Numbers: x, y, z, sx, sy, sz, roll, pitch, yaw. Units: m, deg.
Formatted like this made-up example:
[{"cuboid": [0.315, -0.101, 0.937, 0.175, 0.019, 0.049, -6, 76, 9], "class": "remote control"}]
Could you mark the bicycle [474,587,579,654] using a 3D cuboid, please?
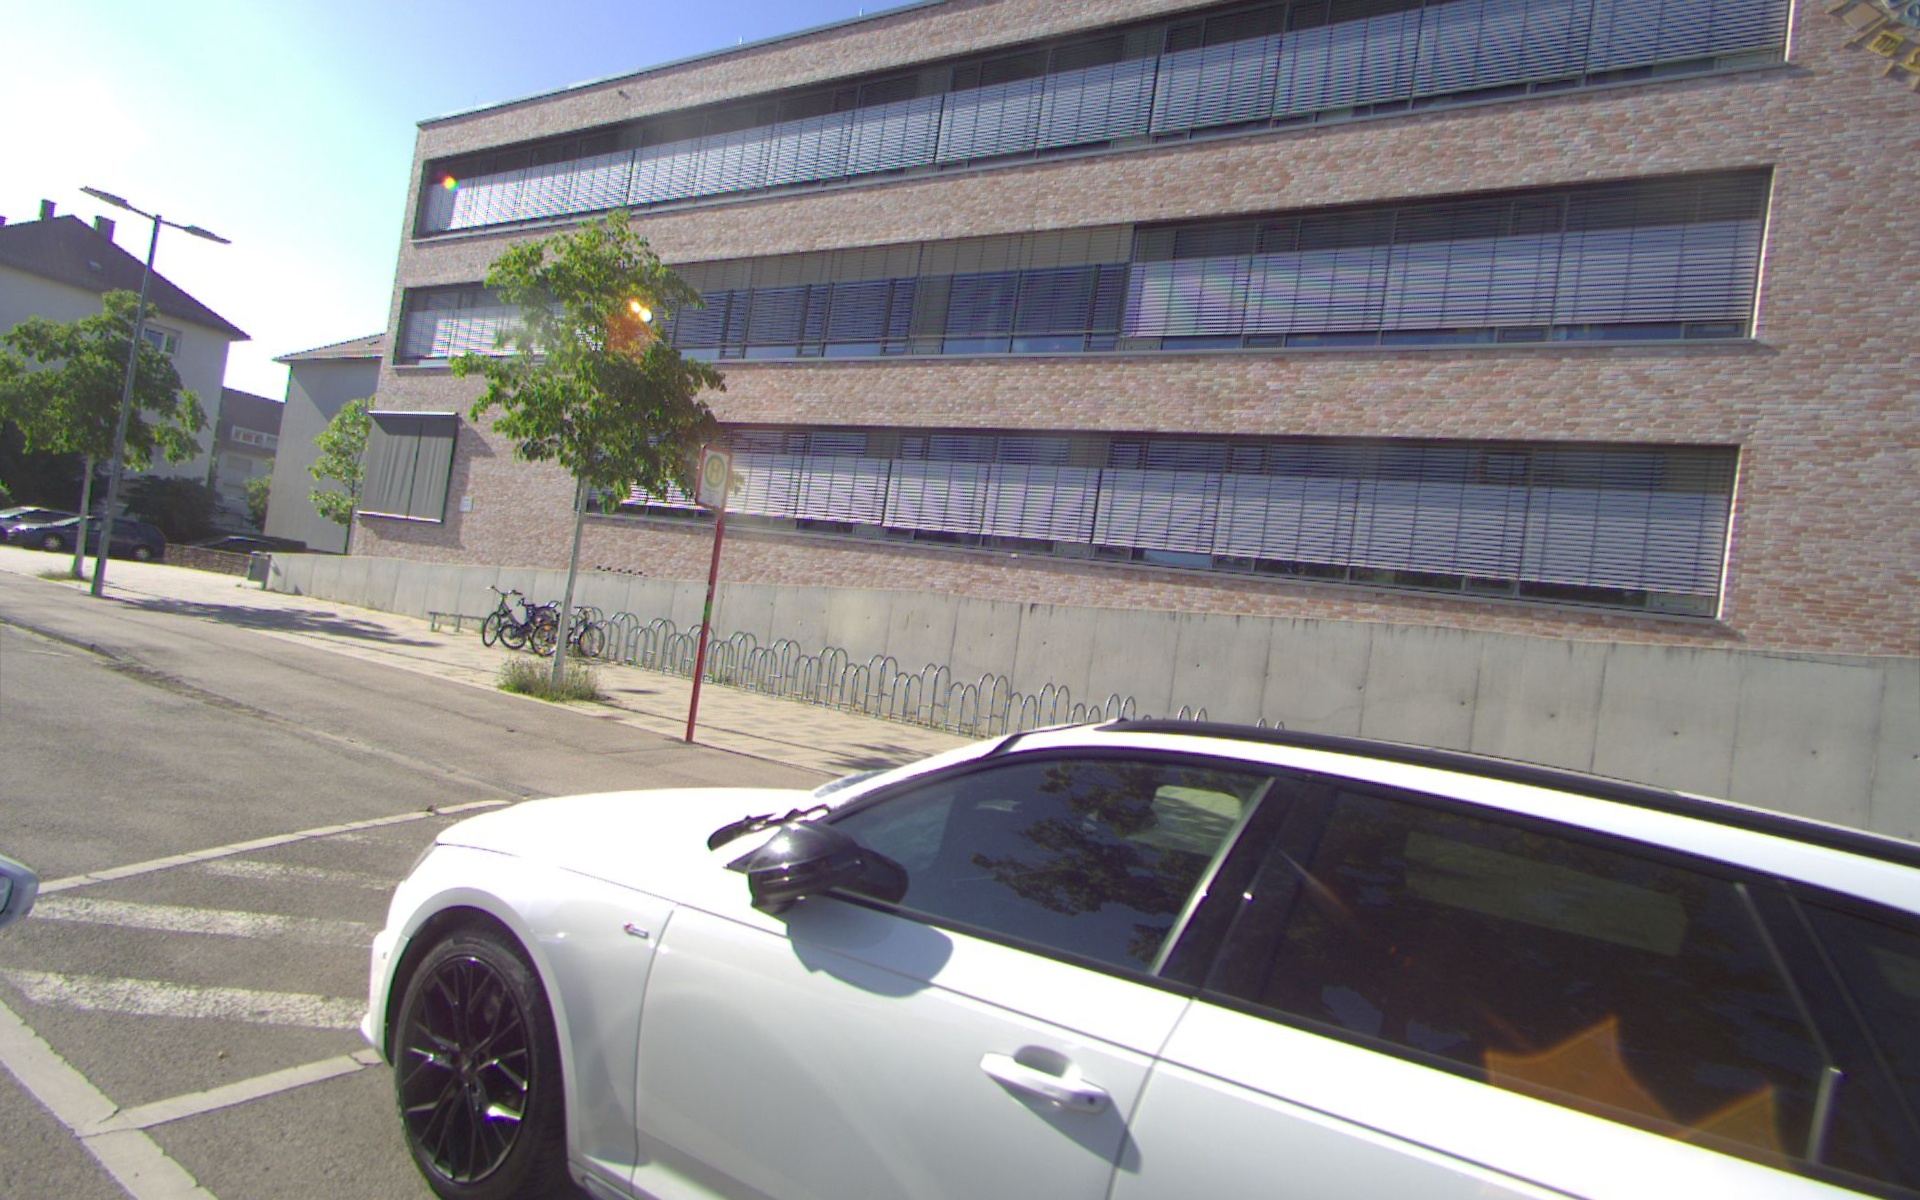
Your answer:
[{"cuboid": [-8.115, 0.403, 18.918, 0.491, 1.121, 1.797, 7, 0, 29], "class": "bicycle"}]

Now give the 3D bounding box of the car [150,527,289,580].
[{"cuboid": [-32.633, -2.012, 44.480, 1.769, 1.557, 4.493, 5, -4, 29], "class": "car"}]

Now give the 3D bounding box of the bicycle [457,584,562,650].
[{"cuboid": [-8.553, 0.350, 19.183, 0.491, 1.121, 1.797, 7, 0, 29], "class": "bicycle"}]

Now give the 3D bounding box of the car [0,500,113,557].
[{"cuboid": [-35.888, -2.836, 38.775, 1.769, 1.640, 4.493, 5, -4, 29], "class": "car"}]

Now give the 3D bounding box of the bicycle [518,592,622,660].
[{"cuboid": [-7.167, 0.507, 18.569, 0.491, 1.121, 1.797, 7, 0, 29], "class": "bicycle"}]

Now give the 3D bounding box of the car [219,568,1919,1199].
[{"cuboid": [0.387, 0.949, 2.452, 4.580, 1.436, 1.798, 7, -2, 31], "class": "car"}]
